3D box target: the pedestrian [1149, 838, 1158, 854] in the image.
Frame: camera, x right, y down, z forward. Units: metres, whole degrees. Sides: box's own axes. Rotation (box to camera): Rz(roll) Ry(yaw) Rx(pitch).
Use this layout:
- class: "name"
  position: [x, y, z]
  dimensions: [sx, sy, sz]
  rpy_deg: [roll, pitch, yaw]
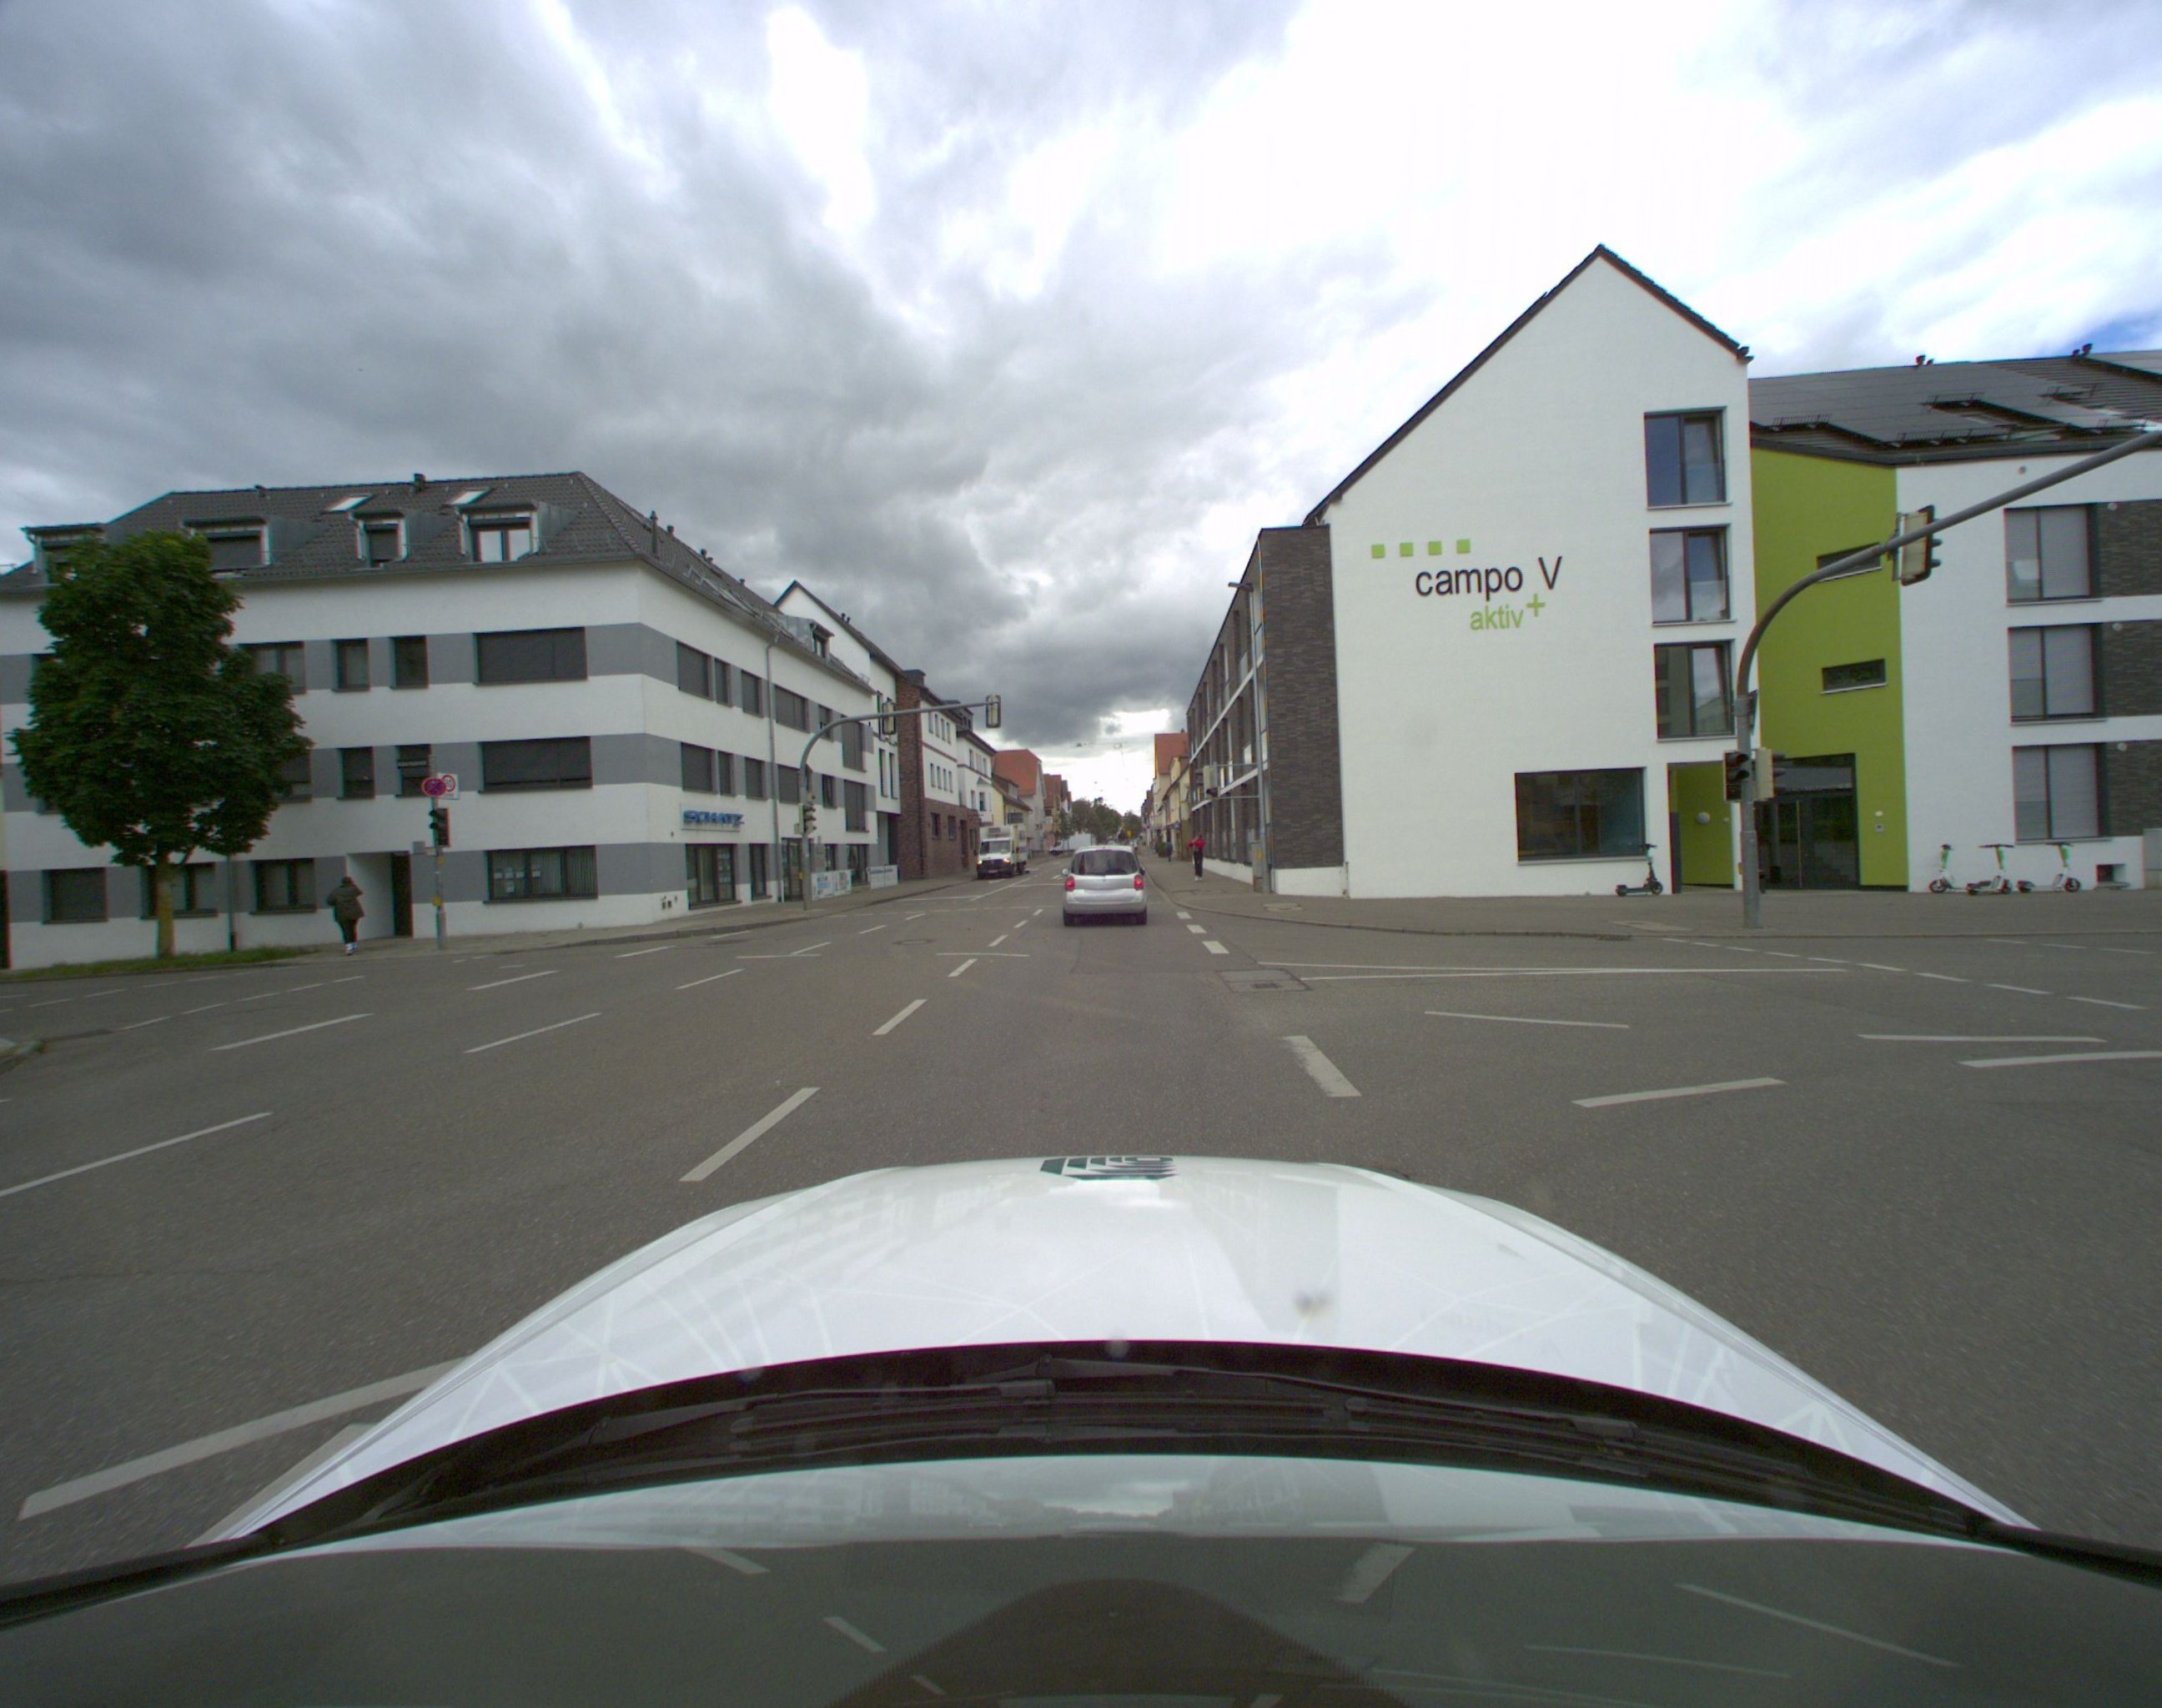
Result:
- class: "pedestrian"
  position: [8.863, -0.975, 99.137]
  dimensions: [0.886, 1.786, 0.786]
  rpy_deg: [-5, 0, 3]

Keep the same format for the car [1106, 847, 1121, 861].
- class: "car"
  position: [3.730, -0.019, 93.478]
  dimensions: [1.700, 1.579, 4.003]
  rpy_deg: [-1, 1, 2]

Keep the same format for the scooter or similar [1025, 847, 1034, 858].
- class: "scooter or similar"
  position: [-5.826, -0.182, 92.213]
  dimensions: [0.573, 1.269, 2.551]
  rpy_deg: [-3, 1, 3]

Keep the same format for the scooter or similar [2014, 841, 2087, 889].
- class: "scooter or similar"
  position: [22.676, 0.257, 19.056]
  dimensions: [1.168, 1.079, 0.364]
  rpy_deg: [-1, 0, 6]

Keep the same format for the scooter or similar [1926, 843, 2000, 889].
- class: "scooter or similar"
  position: [21.060, 0.283, 19.459]
  dimensions: [1.221, 1.079, 0.365]
  rpy_deg: [-1, 0, 9]

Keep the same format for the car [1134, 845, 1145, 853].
- class: "car"
  position: [10.443, -0.855, 146.165]
  dimensions: [1.805, 1.354, 4.004]
  rpy_deg: [-3, 1, 3]

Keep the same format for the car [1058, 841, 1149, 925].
- class: "car"
  position: [0.509, 0.531, 17.394]
  dimensions: [1.700, 1.579, 4.003]
  rpy_deg: [-1, 1, 2]

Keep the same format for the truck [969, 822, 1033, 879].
- class: "truck"
  position: [-4.554, -0.247, 48.111]
  dimensions: [2.425, 2.953, 8.370]
  rpy_deg: [-3, 0, 2]

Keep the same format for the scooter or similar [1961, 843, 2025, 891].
- class: "scooter or similar"
  position: [20.916, 0.292, 18.680]
  dimensions: [1.228, 1.079, 0.363]
  rpy_deg: [-1, 0, -9]

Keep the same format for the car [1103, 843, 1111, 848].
- class: "car"
  position: [6.586, -2.173, 207.511]
  dimensions: [1.805, 1.354, 3.861]
  rpy_deg: [-3, 1, 3]

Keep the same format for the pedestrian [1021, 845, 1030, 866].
- class: "pedestrian"
  position: [-4.612, 0.137, 68.005]
  dimensions: [0.659, 1.757, 0.688]
  rpy_deg: [-1, 1, 3]

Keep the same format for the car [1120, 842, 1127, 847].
- class: "car"
  position: [12.163, -2.830, 233.495]
  dimensions: [1.805, 1.354, 4.004]
  rpy_deg: [-3, 1, 3]

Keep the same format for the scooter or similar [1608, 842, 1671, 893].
- class: "scooter or similar"
  position: [13.692, 0.325, 19.977]
  dimensions: [1.225, 1.235, 0.407]
  rpy_deg: [-1, 0, 3]

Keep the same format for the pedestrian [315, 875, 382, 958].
- class: "pedestrian"
  position: [-16.084, 1.346, 17.890]
  dimensions: [0.803, 1.669, 0.890]
  rpy_deg: [0, 4, 40]

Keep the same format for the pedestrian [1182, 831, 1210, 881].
- class: "pedestrian"
  position: [4.267, 0.062, 30.215]
  dimensions: [0.804, 1.786, 0.862]
  rpy_deg: [-5, 0, 3]

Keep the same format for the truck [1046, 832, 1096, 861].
- class: "truck"
  position: [-1.418, -1.103, 120.116]
  dimensions: [6.776, 3.857, 2.615]
  rpy_deg: [-2, 0, 14]

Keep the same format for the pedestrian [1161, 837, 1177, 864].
- class: "pedestrian"
  position: [6.023, -0.265, 55.806]
  dimensions: [0.886, 1.786, 0.786]
  rpy_deg: [-5, 0, 3]
